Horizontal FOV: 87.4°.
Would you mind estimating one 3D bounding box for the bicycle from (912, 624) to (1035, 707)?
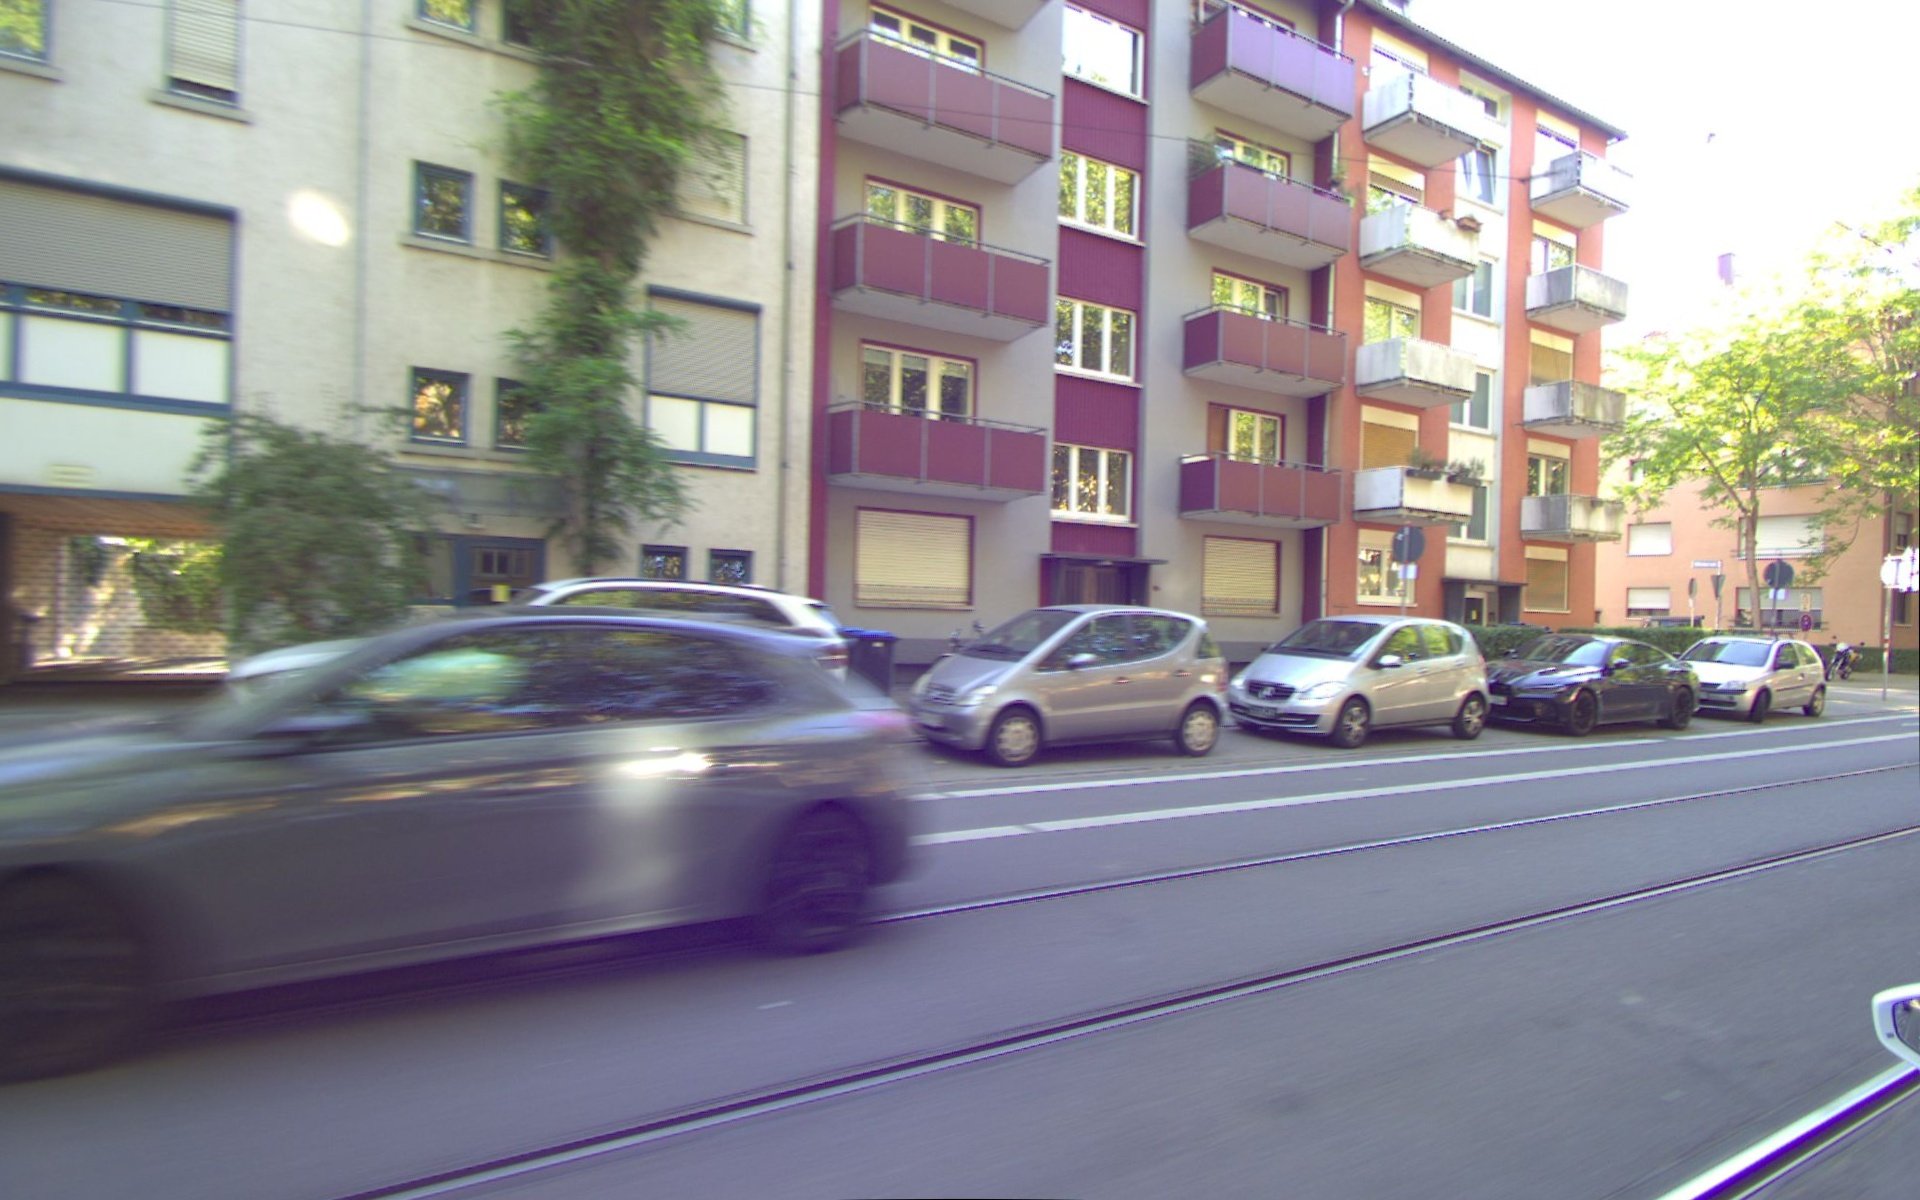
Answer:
[{"bbox_3d":[0.166,1.000,15.950,0.691,1.076,2.436,2,1,-33],"label":"bicycle"}]

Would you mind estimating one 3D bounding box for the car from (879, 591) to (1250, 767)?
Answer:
[{"bbox_3d":[1.172,0.797,10.944,3.736,1.593,1.618,2,1,-29],"label":"car"}]

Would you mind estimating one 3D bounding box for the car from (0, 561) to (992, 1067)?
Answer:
[{"bbox_3d":[-2.026,0.668,4.396,4.005,1.465,1.787,2,-1,-30],"label":"car"}]

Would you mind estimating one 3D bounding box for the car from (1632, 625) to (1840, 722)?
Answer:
[{"bbox_3d":[14.257,1.293,18.416,3.886,1.503,1.716,2,2,-32],"label":"car"}]

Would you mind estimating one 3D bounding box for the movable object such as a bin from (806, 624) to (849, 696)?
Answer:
[{"bbox_3d":[-2.040,0.910,15.430,0.486,1.069,0.458,1,0,-30],"label":"movable object such as a bin"}]

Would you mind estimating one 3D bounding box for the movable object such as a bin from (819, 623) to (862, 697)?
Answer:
[{"bbox_3d":[-1.789,0.895,15.040,0.486,1.069,0.458,1,0,-30],"label":"movable object such as a bin"}]

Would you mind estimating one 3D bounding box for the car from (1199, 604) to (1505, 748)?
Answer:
[{"bbox_3d":[5.298,0.933,13.446,3.962,1.608,1.809,2,1,-33],"label":"car"}]

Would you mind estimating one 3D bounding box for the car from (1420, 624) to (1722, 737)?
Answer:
[{"bbox_3d":[9.686,1.201,15.850,4.805,1.414,1.943,2,2,-30],"label":"car"}]

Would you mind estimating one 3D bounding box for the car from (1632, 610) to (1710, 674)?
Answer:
[{"bbox_3d":[26.487,1.519,37.577,1.965,2.151,4.713,2,0,31],"label":"car"}]

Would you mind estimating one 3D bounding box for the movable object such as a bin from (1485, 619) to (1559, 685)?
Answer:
[{"bbox_3d":[12.300,1.126,22.004,0.738,1.383,1.206,2,-1,-28],"label":"movable object such as a bin"}]

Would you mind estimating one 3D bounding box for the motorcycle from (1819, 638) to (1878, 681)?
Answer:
[{"bbox_3d":[29.390,1.944,33.210,2.323,1.298,0.897,-1,1,-33],"label":"motorcycle"}]

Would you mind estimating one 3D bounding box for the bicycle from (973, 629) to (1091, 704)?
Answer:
[{"bbox_3d":[1.142,1.055,16.531,0.691,1.006,2.276,2,2,-33],"label":"bicycle"}]

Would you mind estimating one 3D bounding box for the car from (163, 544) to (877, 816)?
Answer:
[{"bbox_3d":[-3.293,0.541,8.249,4.827,1.670,1.942,2,1,-32],"label":"car"}]
